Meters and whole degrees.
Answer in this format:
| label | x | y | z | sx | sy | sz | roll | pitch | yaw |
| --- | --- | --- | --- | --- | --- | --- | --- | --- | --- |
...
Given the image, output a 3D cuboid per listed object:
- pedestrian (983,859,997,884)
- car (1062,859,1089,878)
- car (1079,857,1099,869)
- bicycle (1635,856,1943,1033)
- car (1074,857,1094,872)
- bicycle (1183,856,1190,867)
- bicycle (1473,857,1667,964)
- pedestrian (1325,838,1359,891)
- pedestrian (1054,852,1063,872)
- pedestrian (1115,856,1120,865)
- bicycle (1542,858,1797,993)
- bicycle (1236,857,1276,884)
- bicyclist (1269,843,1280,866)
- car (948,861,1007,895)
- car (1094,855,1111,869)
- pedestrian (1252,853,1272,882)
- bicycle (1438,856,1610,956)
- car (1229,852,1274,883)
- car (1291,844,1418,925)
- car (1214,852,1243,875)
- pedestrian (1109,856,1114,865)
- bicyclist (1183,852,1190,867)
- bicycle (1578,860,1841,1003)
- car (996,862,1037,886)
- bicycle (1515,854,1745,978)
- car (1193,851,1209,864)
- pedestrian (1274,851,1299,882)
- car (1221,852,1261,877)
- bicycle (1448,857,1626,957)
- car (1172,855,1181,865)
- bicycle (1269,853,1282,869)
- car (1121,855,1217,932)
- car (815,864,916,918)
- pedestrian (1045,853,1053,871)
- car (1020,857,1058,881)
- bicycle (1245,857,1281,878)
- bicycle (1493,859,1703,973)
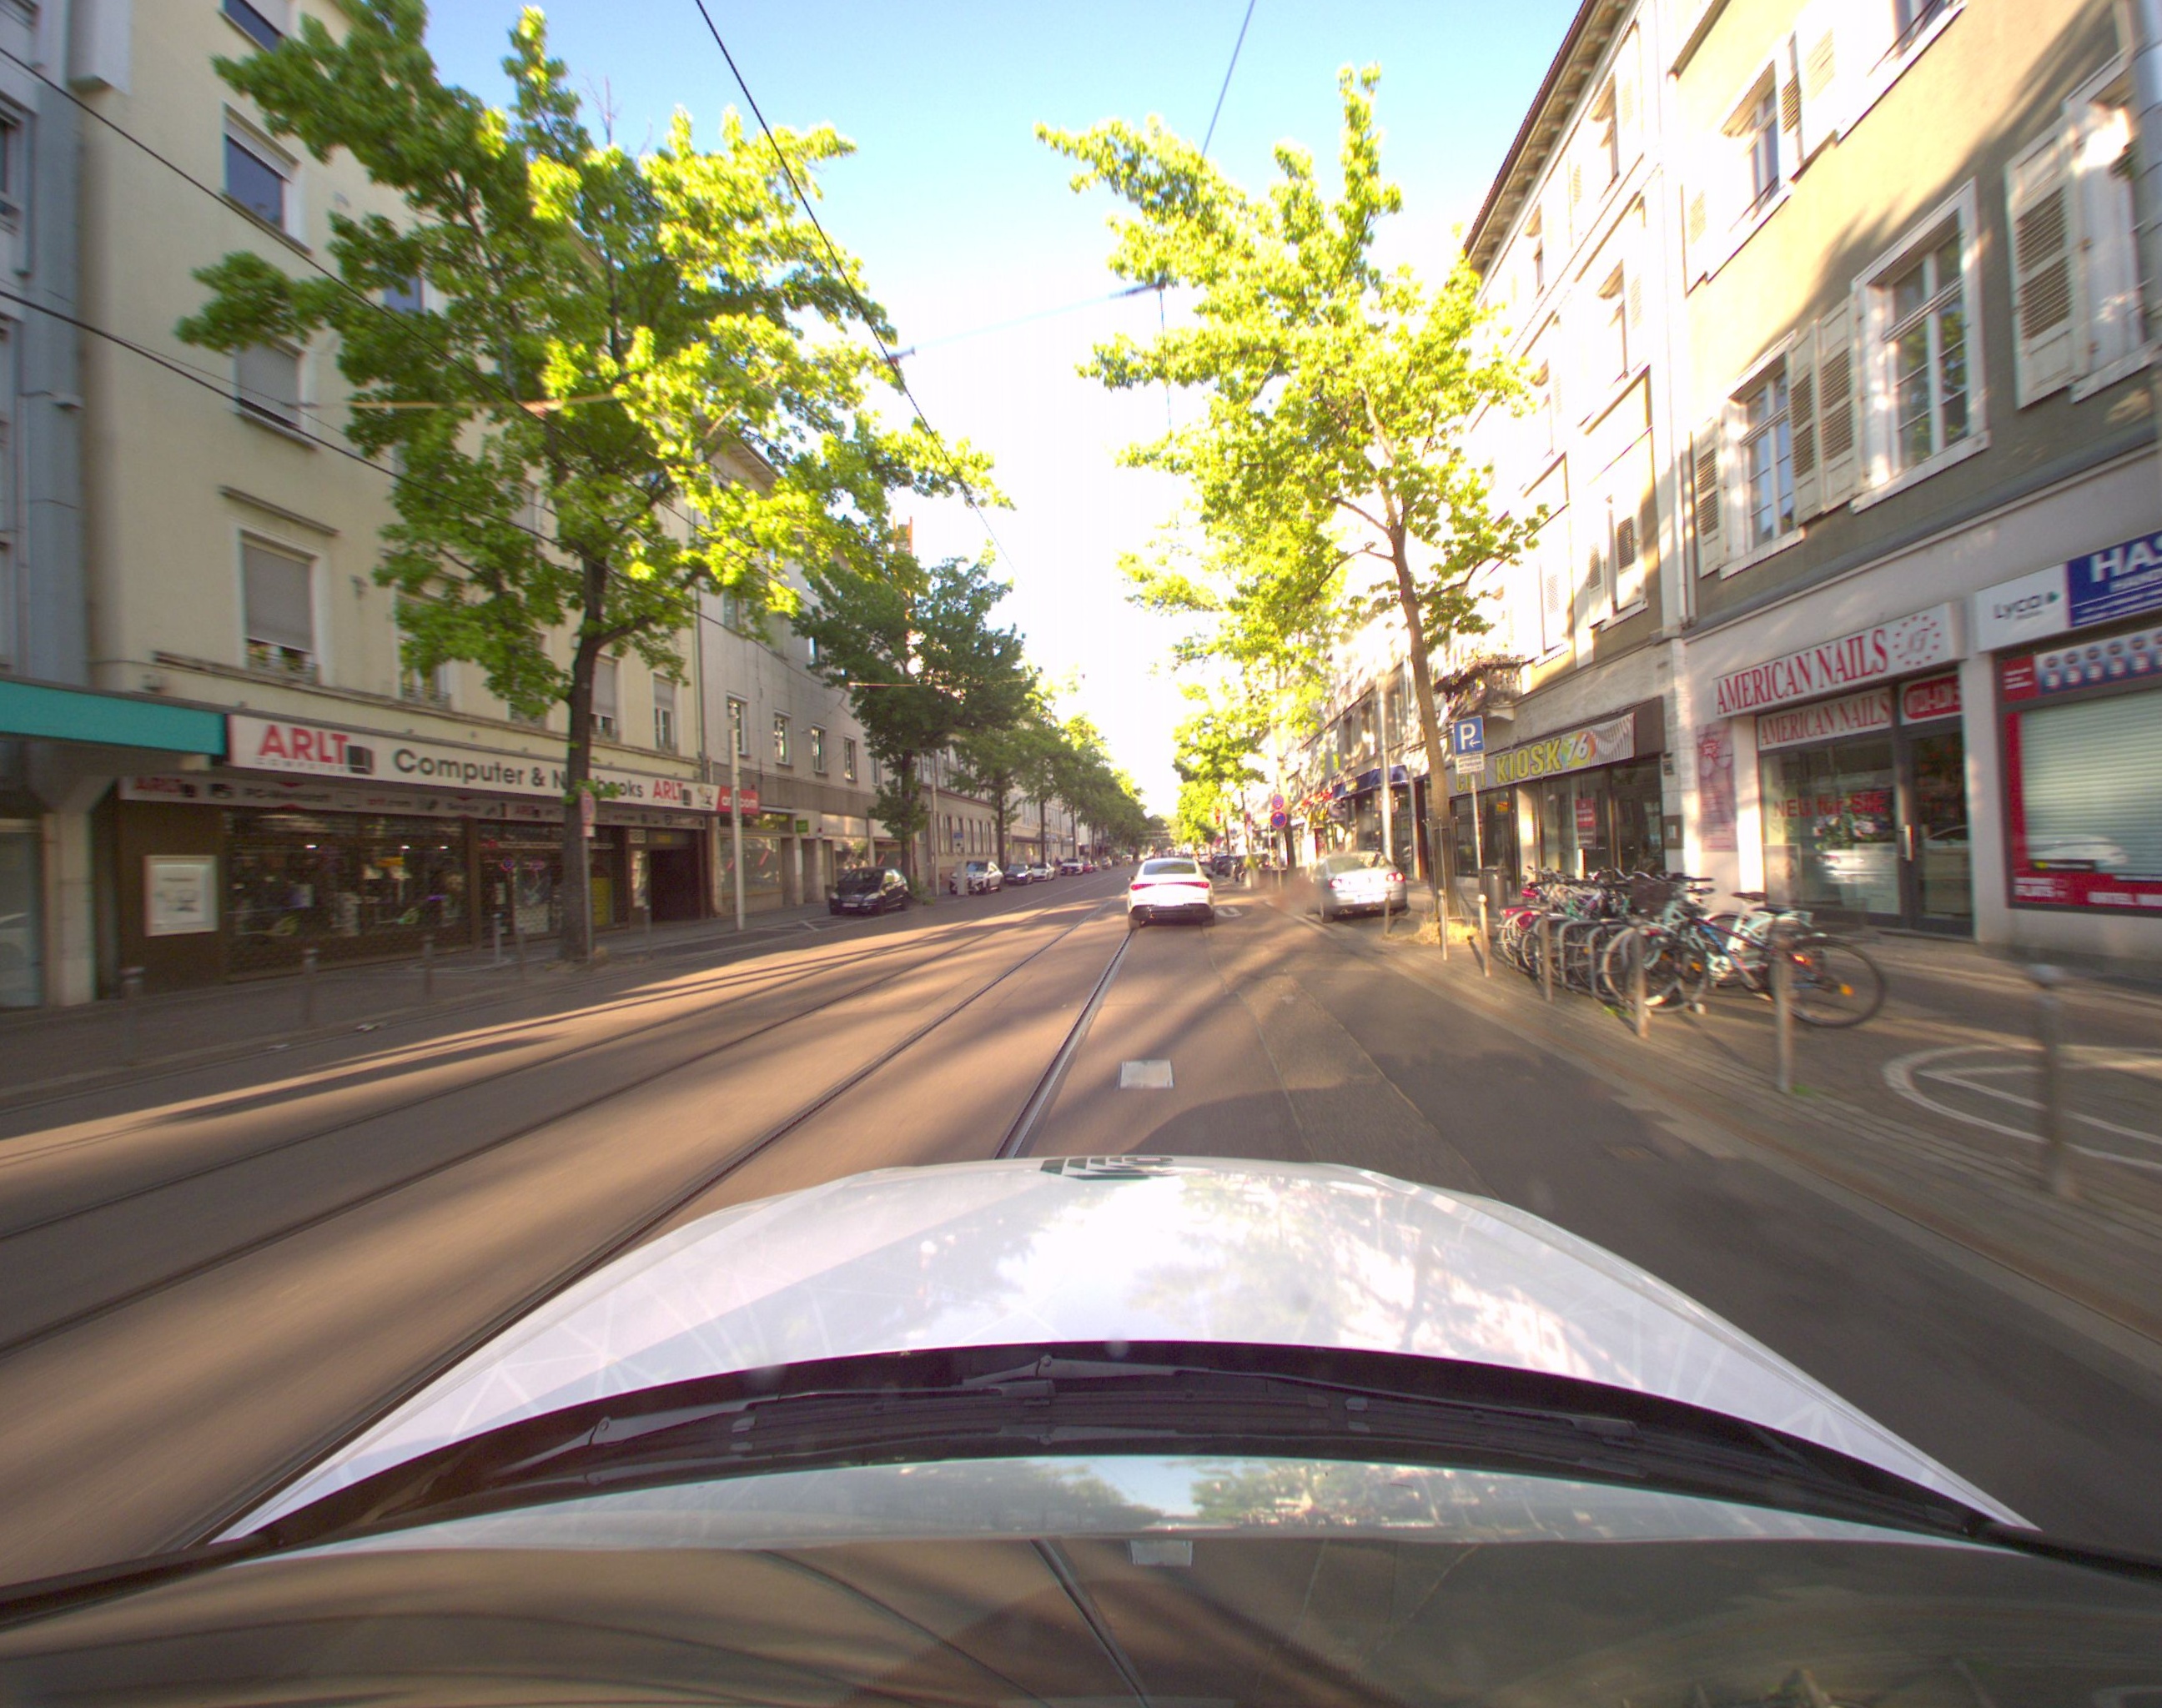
| label | x | y | z | sx | sy | sz | roll | pitch | yaw |
| --- | --- | --- | --- | --- | --- | --- | --- | --- | --- |
| pedestrian | -6.173 | 1.182 | 55.249 | 0.682 | 1.721 | 0.657 | -2 | -1 | 7 |
| car | -0.508 | 1.377 | 80.592 | 1.951 | 1.692 | 5.024 | -3 | -1 | 8 |
| car | 0.967 | 1.024 | 98.574 | 1.983 | 1.292 | 4.007 | -3 | 0 | 6 |
| bicycle | 5.299 | 0.632 | 6.219 | 0.463 | 1.154 | 1.664 | -2 | -1 | -33 |
| car | 0.363 | 1.157 | 90.257 | 1.679 | 1.499 | 4.243 | -3 | -1 | 8 |
| bicycle | 12.327 | 0.866 | 94.887 | 0.736 | 1.188 | 2.165 | -4 | -1 | 7 |
| bicycle | 5.759 | 0.657 | 9.675 | 1.855 | 1.154 | 0.563 | -3 | -1 | 8 |
| pedestrian | 8.446 | 0.331 | 26.400 | 0.799 | 1.643 | 0.757 | -4 | 0 | 6 |
| pedestrian | -2.350 | 0.836 | 85.885 | 0.704 | 2.004 | 0.676 | -3 | 0 | 4 |
| pedestrian | 6.360 | 1.099 | 142.495 | 0.519 | 1.478 | 0.645 | -5 | -1 | -21 |
| bicycle | 5.492 | 0.660 | 7.689 | 1.855 | 1.154 | 0.563 | -3 | -1 | 8 |
| bicycle | 8.405 | 0.793 | 39.165 | 1.710 | 1.138 | 0.550 | -6 | -1 | 27 |
| bicyclist | 14.189 | 0.028 | 59.704 | 0.636 | 1.684 | 0.600 | -4 | -1 | 5 |
| car | -5.375 | 1.223 | 43.099 | 1.951 | 1.640 | 4.822 | 0 | 0 | 7 |
| car | 2.924 | 1.052 | 112.068 | 1.541 | 1.796 | 3.180 | -3 | 0 | 15 |
| pedestrian | 8.270 | 0.615 | 37.192 | 0.812 | 1.265 | 0.588 | -3 | 0 | 12 |
| bicycle | 5.907 | 0.687 | 10.933 | 1.856 | 1.154 | 0.563 | -6 | -1 | 8 |
| car | 8.982 | 0.716 | 43.224 | 1.792 | 1.458 | 3.659 | 4 | 0 | 4 |
| car | 6.079 | 0.633 | 18.630 | 1.766 | 1.440 | 4.431 | -6 | -1 | 7 |
| car | 10.856 | 0.644 | 60.104 | 1.860 | 1.453 | 4.116 | -6 | -1 | 8 |
| pedestrian | 5.306 | 1.182 | 141.715 | 0.563 | 1.464 | 0.654 | -3 | 0 | 26 |
| bicyclist | 12.334 | 0.627 | 95.073 | 0.721 | 1.702 | 0.813 | -3 | -1 | 7 |
| bicycle | 5.480 | 0.676 | 7.168 | 1.855 | 1.154 | 0.348 | -3 | -1 | 8 |
| car | -4.237 | 1.308 | 54.388 | 1.953 | 1.412 | 4.851 | -3 | -1 | 4 |
| bicycle | 5.603 | 0.626 | 8.396 | 1.855 | 1.154 | 0.563 | -3 | -1 | 8 |
| car | 16.861 | 0.450 | 114.473 | 1.983 | 1.728 | 4.249 | -4 | 0 | 7 |
| pedestrian | 9.386 | 0.579 | 37.193 | 0.712 | 1.387 | 0.740 | -3 | -1 | -31 |
| car | 10.194 | 0.674 | 52.255 | 1.808 | 1.486 | 4.001 | -3 | -1 | 1 |
| bicycle | 5.757 | 0.667 | 10.360 | 1.855 | 1.154 | 0.563 | -3 | -1 | 8 |
| car | 24.486 | 1.587 | 208.746 | 1.986 | 2.541 | 4.001 | -3 | -1 | 2 |
| bicycle | 14.218 | 0.503 | 59.594 | 0.644 | 1.074 | 1.864 | -4 | 0 | 5 |
| car | 2.035 | 0.797 | 18.280 | 1.857 | 1.469 | 4.052 | -2 | 0 | 8 |
| car | -7.454 | 1.232 | 28.616 | 1.951 | 1.640 | 4.009 | -3 | -1 | 8 |
| pedestrian | -3.336 | 0.853 | 86.080 | 0.704 | 1.806 | 0.676 | -3 | 0 | 2 |
| car | -3.171 | 1.134 | 62.289 | 1.936 | 1.640 | 4.920 | -3 | 0 | 8 |
| bicycle | 10.635 | 0.796 | 47.615 | 1.851 | 1.074 | 0.711 | -4 | 0 | -4 |
| bicycle | 5.701 | 0.680 | 9.060 | 1.855 | 1.154 | 0.563 | -3 | -1 | 8 |
